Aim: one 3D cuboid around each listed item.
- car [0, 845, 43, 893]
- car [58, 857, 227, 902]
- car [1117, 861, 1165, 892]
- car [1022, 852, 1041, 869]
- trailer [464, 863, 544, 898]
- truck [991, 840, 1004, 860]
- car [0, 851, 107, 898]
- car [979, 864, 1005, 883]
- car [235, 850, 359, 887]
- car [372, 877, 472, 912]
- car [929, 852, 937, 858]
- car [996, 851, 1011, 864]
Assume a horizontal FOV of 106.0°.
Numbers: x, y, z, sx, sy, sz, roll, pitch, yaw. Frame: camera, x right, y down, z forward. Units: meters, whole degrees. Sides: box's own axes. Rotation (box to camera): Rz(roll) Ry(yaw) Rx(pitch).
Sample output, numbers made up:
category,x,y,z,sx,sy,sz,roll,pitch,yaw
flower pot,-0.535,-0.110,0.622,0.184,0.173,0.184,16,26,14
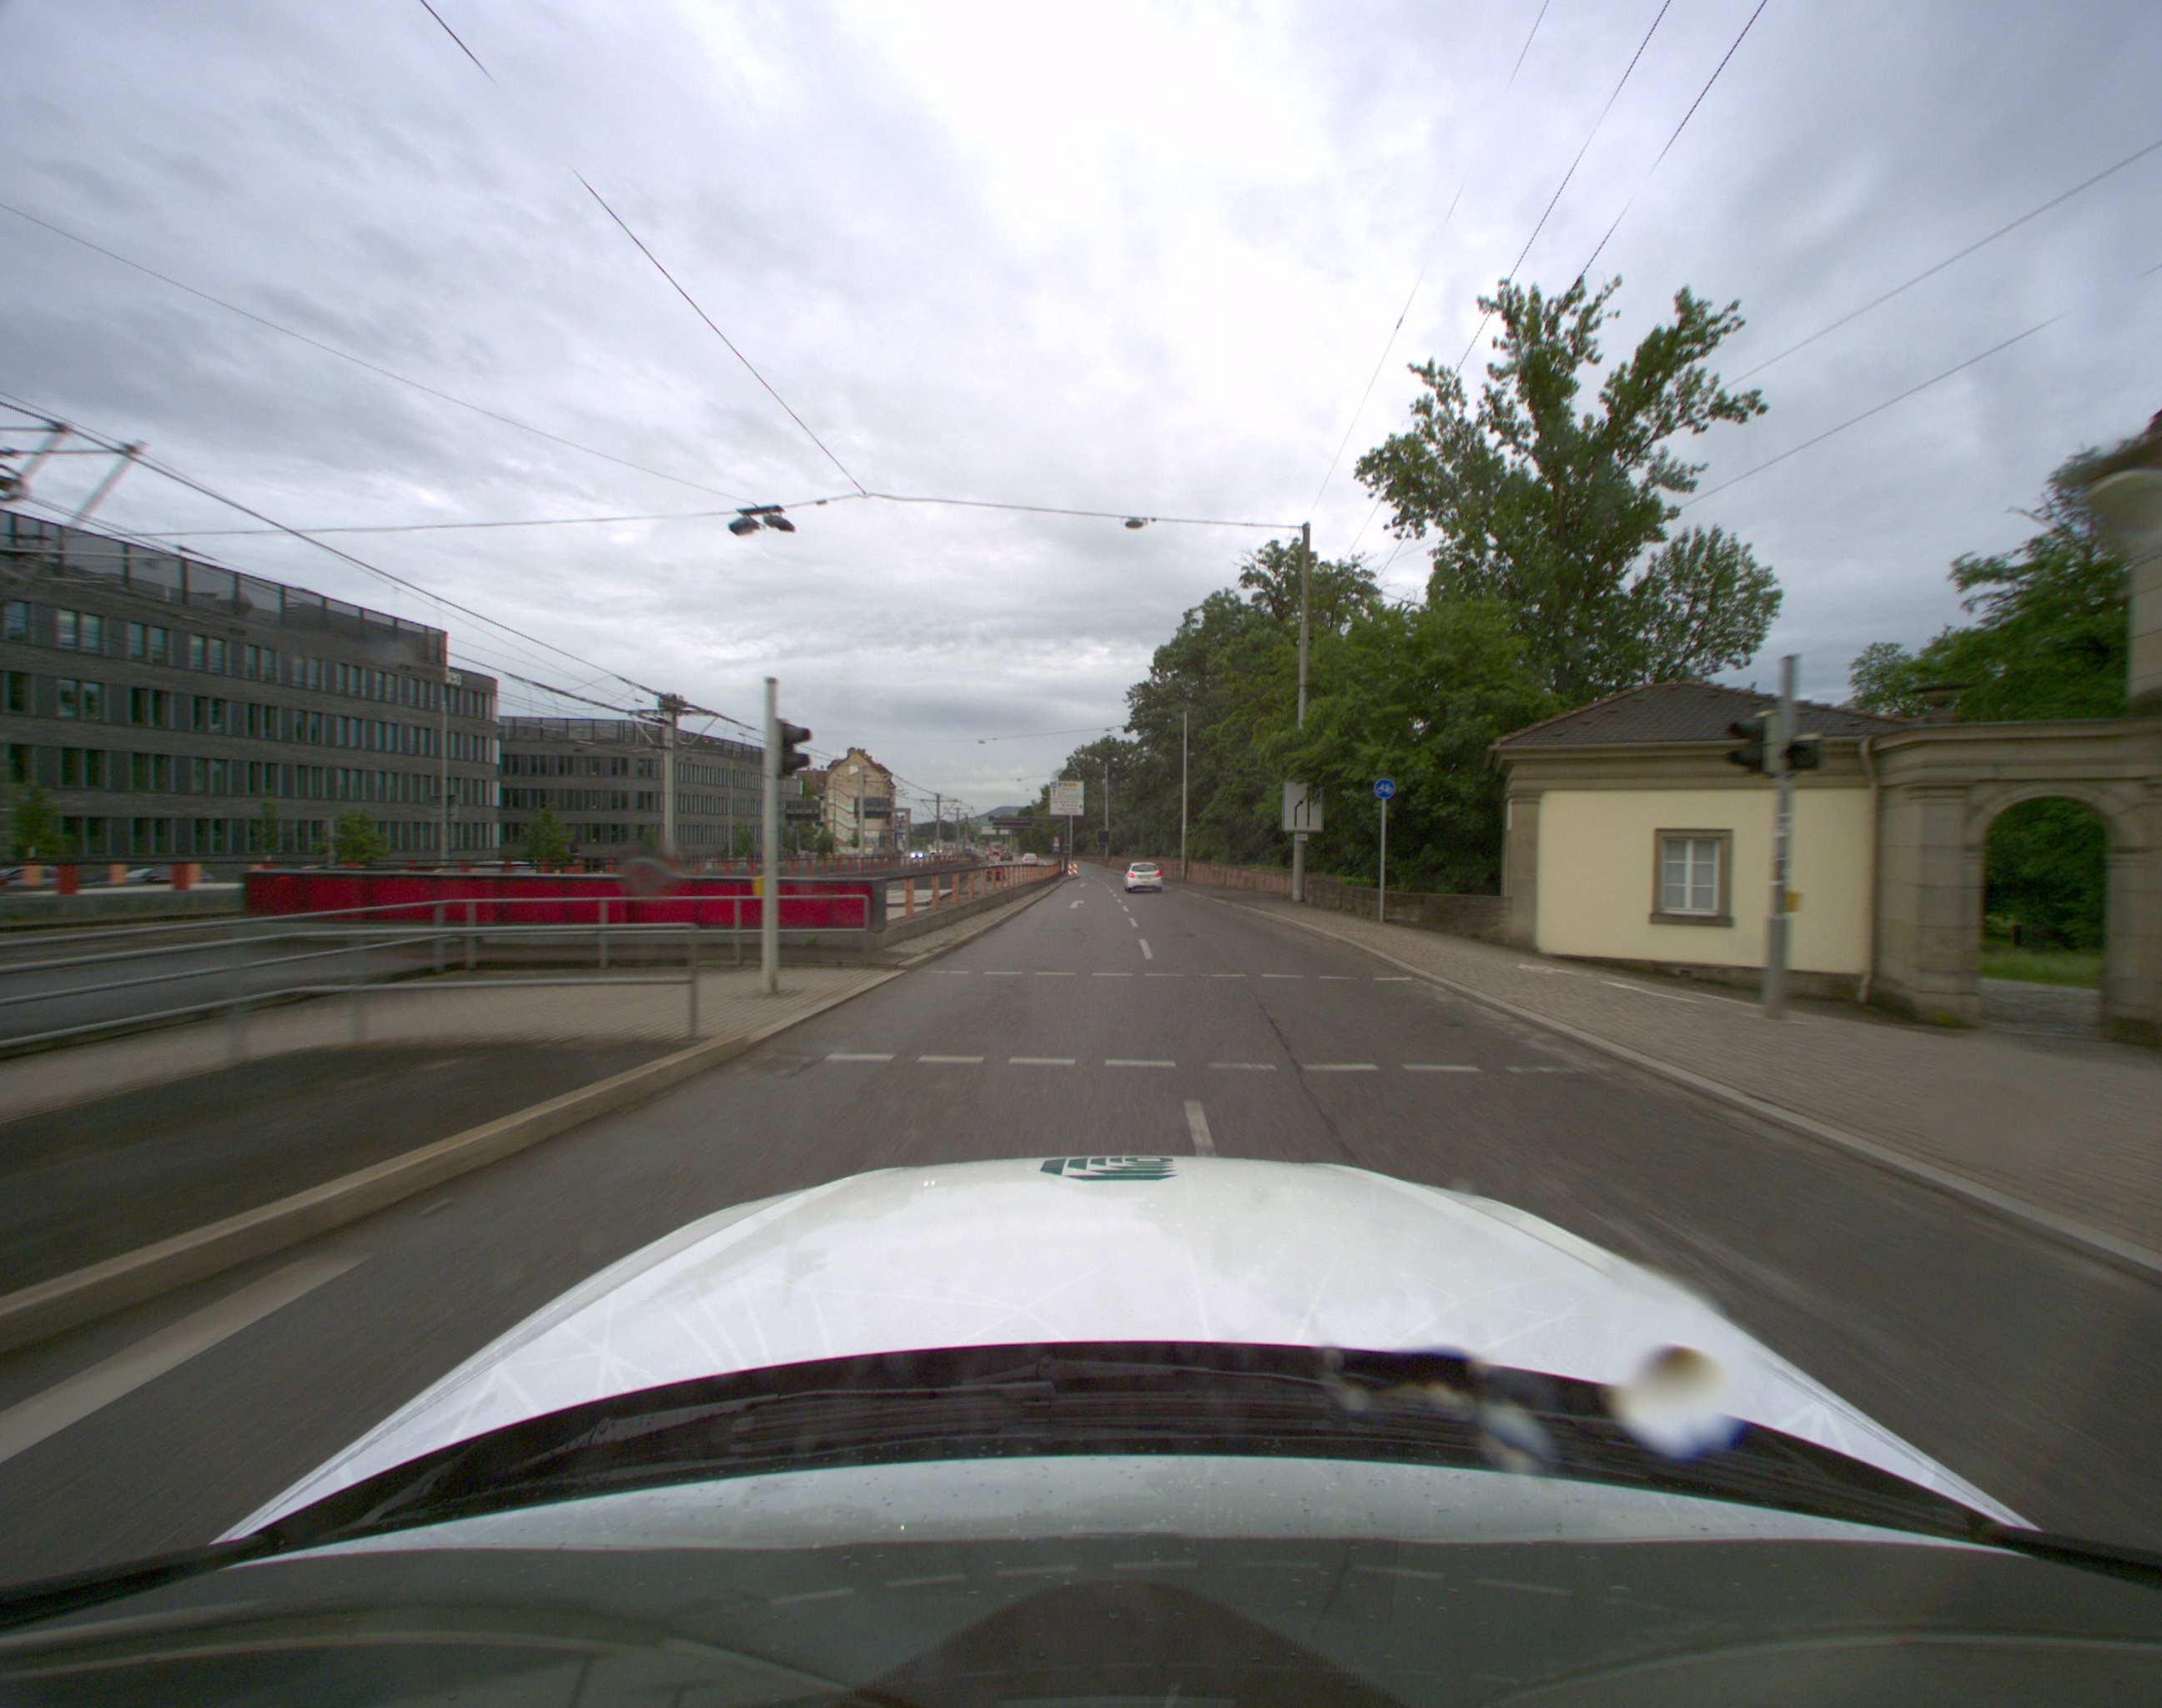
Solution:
category,x,y,z,sx,sy,sz,roll,pitch,yaw
car,-36.128,0.465,25.654,1.818,1.585,3.833,1,-1,3
car,-35.453,0.950,30.939,1.818,1.585,3.833,1,-1,3
car,2.958,1.118,40.810,1.951,1.488,3.996,1,-1,-3
car,-6.051,0.740,98.936,2.080,1.872,4.086,-1,1,-7
trailer,-35.382,1.594,50.062,1.819,2.074,4.273,1,-1,0
truck,-23.700,-1.081,229.436,3.461,5.401,12.022,1,-1,-7
car,-38.781,0.706,29.679,1.818,1.585,3.834,3,0,3
car,-8.297,1.797,76.412,1.987,1.575,4.000,-1,1,0
car,-35.778,0.667,37.329,1.818,1.585,3.833,1,-1,3
car,-35.358,2.159,43.871,1.819,1.749,4.273,1,-1,0
car,-45.564,0.395,250.700,1.822,1.584,3.825,0,3,-5
car,-11.317,0.506,119.028,1.992,1.872,3.989,-1,1,-8
